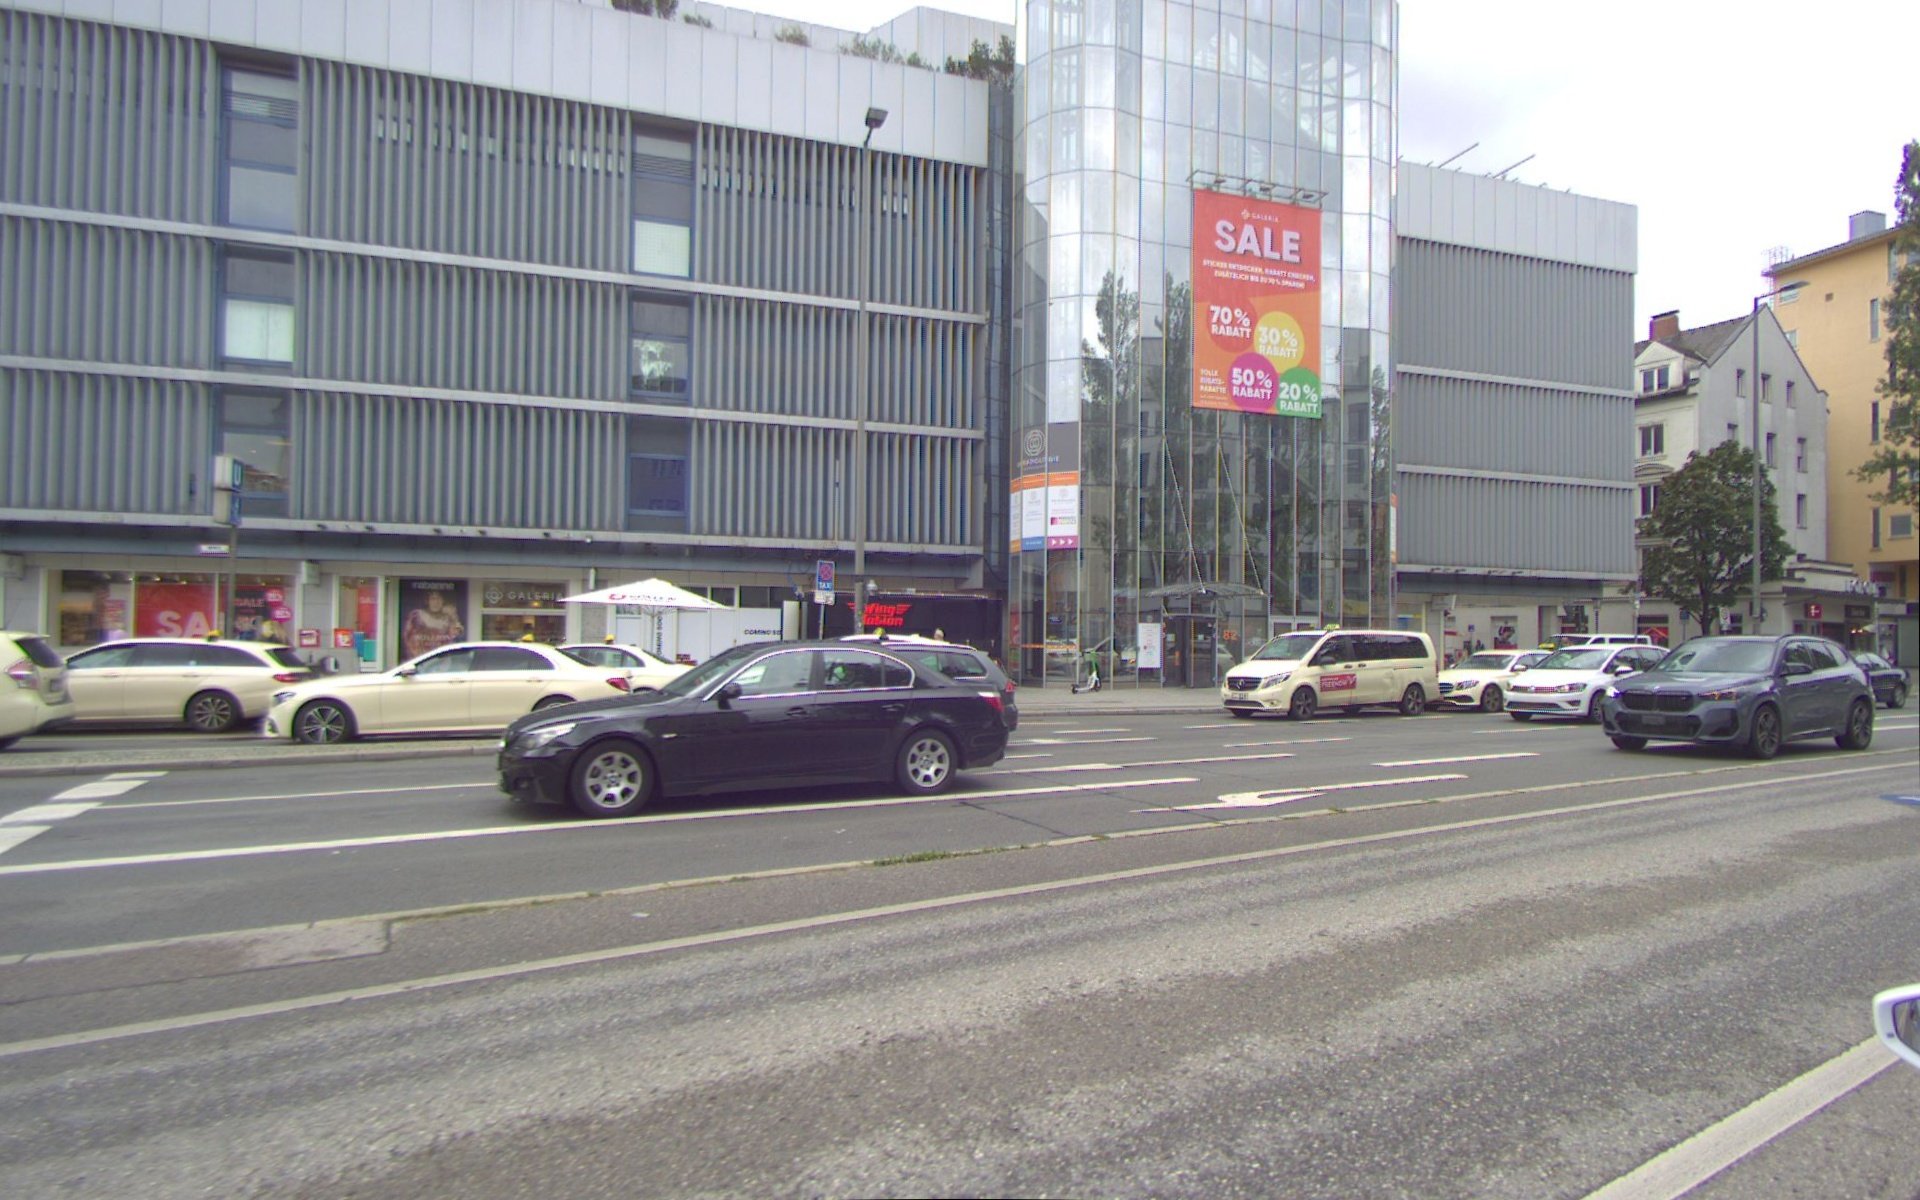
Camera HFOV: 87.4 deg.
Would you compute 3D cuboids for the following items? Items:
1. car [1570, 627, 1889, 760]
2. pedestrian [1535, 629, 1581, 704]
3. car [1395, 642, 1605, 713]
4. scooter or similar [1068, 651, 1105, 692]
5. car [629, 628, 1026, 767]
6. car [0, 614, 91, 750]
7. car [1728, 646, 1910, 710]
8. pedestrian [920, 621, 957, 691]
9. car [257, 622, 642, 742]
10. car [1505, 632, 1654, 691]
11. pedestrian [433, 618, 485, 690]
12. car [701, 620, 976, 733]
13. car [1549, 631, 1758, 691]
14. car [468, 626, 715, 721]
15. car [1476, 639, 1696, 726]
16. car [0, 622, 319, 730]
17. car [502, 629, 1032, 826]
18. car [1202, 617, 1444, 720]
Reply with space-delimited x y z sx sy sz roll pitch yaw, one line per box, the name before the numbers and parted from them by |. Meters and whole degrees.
car | 11.005 1.258 14.345 4.358 1.642 1.986 2 -3 -28
pedestrian | 15.399 1.702 25.873 0.839 1.891 0.780 2 -2 -39
car | 13.248 1.851 24.607 5.017 1.572 1.972 2 -2 -25
scooter or similar | 3.679 2.053 29.180 0.362 1.155 1.375 -1 -2 40
car | -1.684 1.194 13.374 4.889 1.566 1.951 2 -3 -30
car | -13.375 0.954 11.866 4.425 1.633 1.579 2 -2 -31
car | 21.138 1.872 24.697 4.626 1.427 1.724 1 -2 -26
pedestrian | -0.577 1.494 27.021 0.805 1.829 0.788 1 -2 -18
car | -7.269 1.151 14.896 4.775 1.561 1.943 1 -2 -21
car | 22.472 2.189 36.450 5.037 2.040 1.990 1 -2 -22
pedestrian | -11.109 1.189 22.309 0.885 1.566 0.731 1 -2 -17
car | -2.060 1.259 16.940 4.315 1.720 1.884 1 -3 -20
car | 18.295 1.623 26.536 4.900 1.488 1.857 1 -4 -16
car | -6.546 1.287 18.039 3.942 1.557 1.749 1 -2 -22
car | 12.872 1.625 20.628 4.235 1.621 1.986 2 -2 -28
car | -12.947 1.180 16.337 3.945 1.587 1.902 1 -2 -24
car | -1.774 1.059 9.620 4.673 1.506 1.829 1 -2 -27
car | 8.011 1.478 22.050 5.254 2.040 1.986 2 -3 -28
